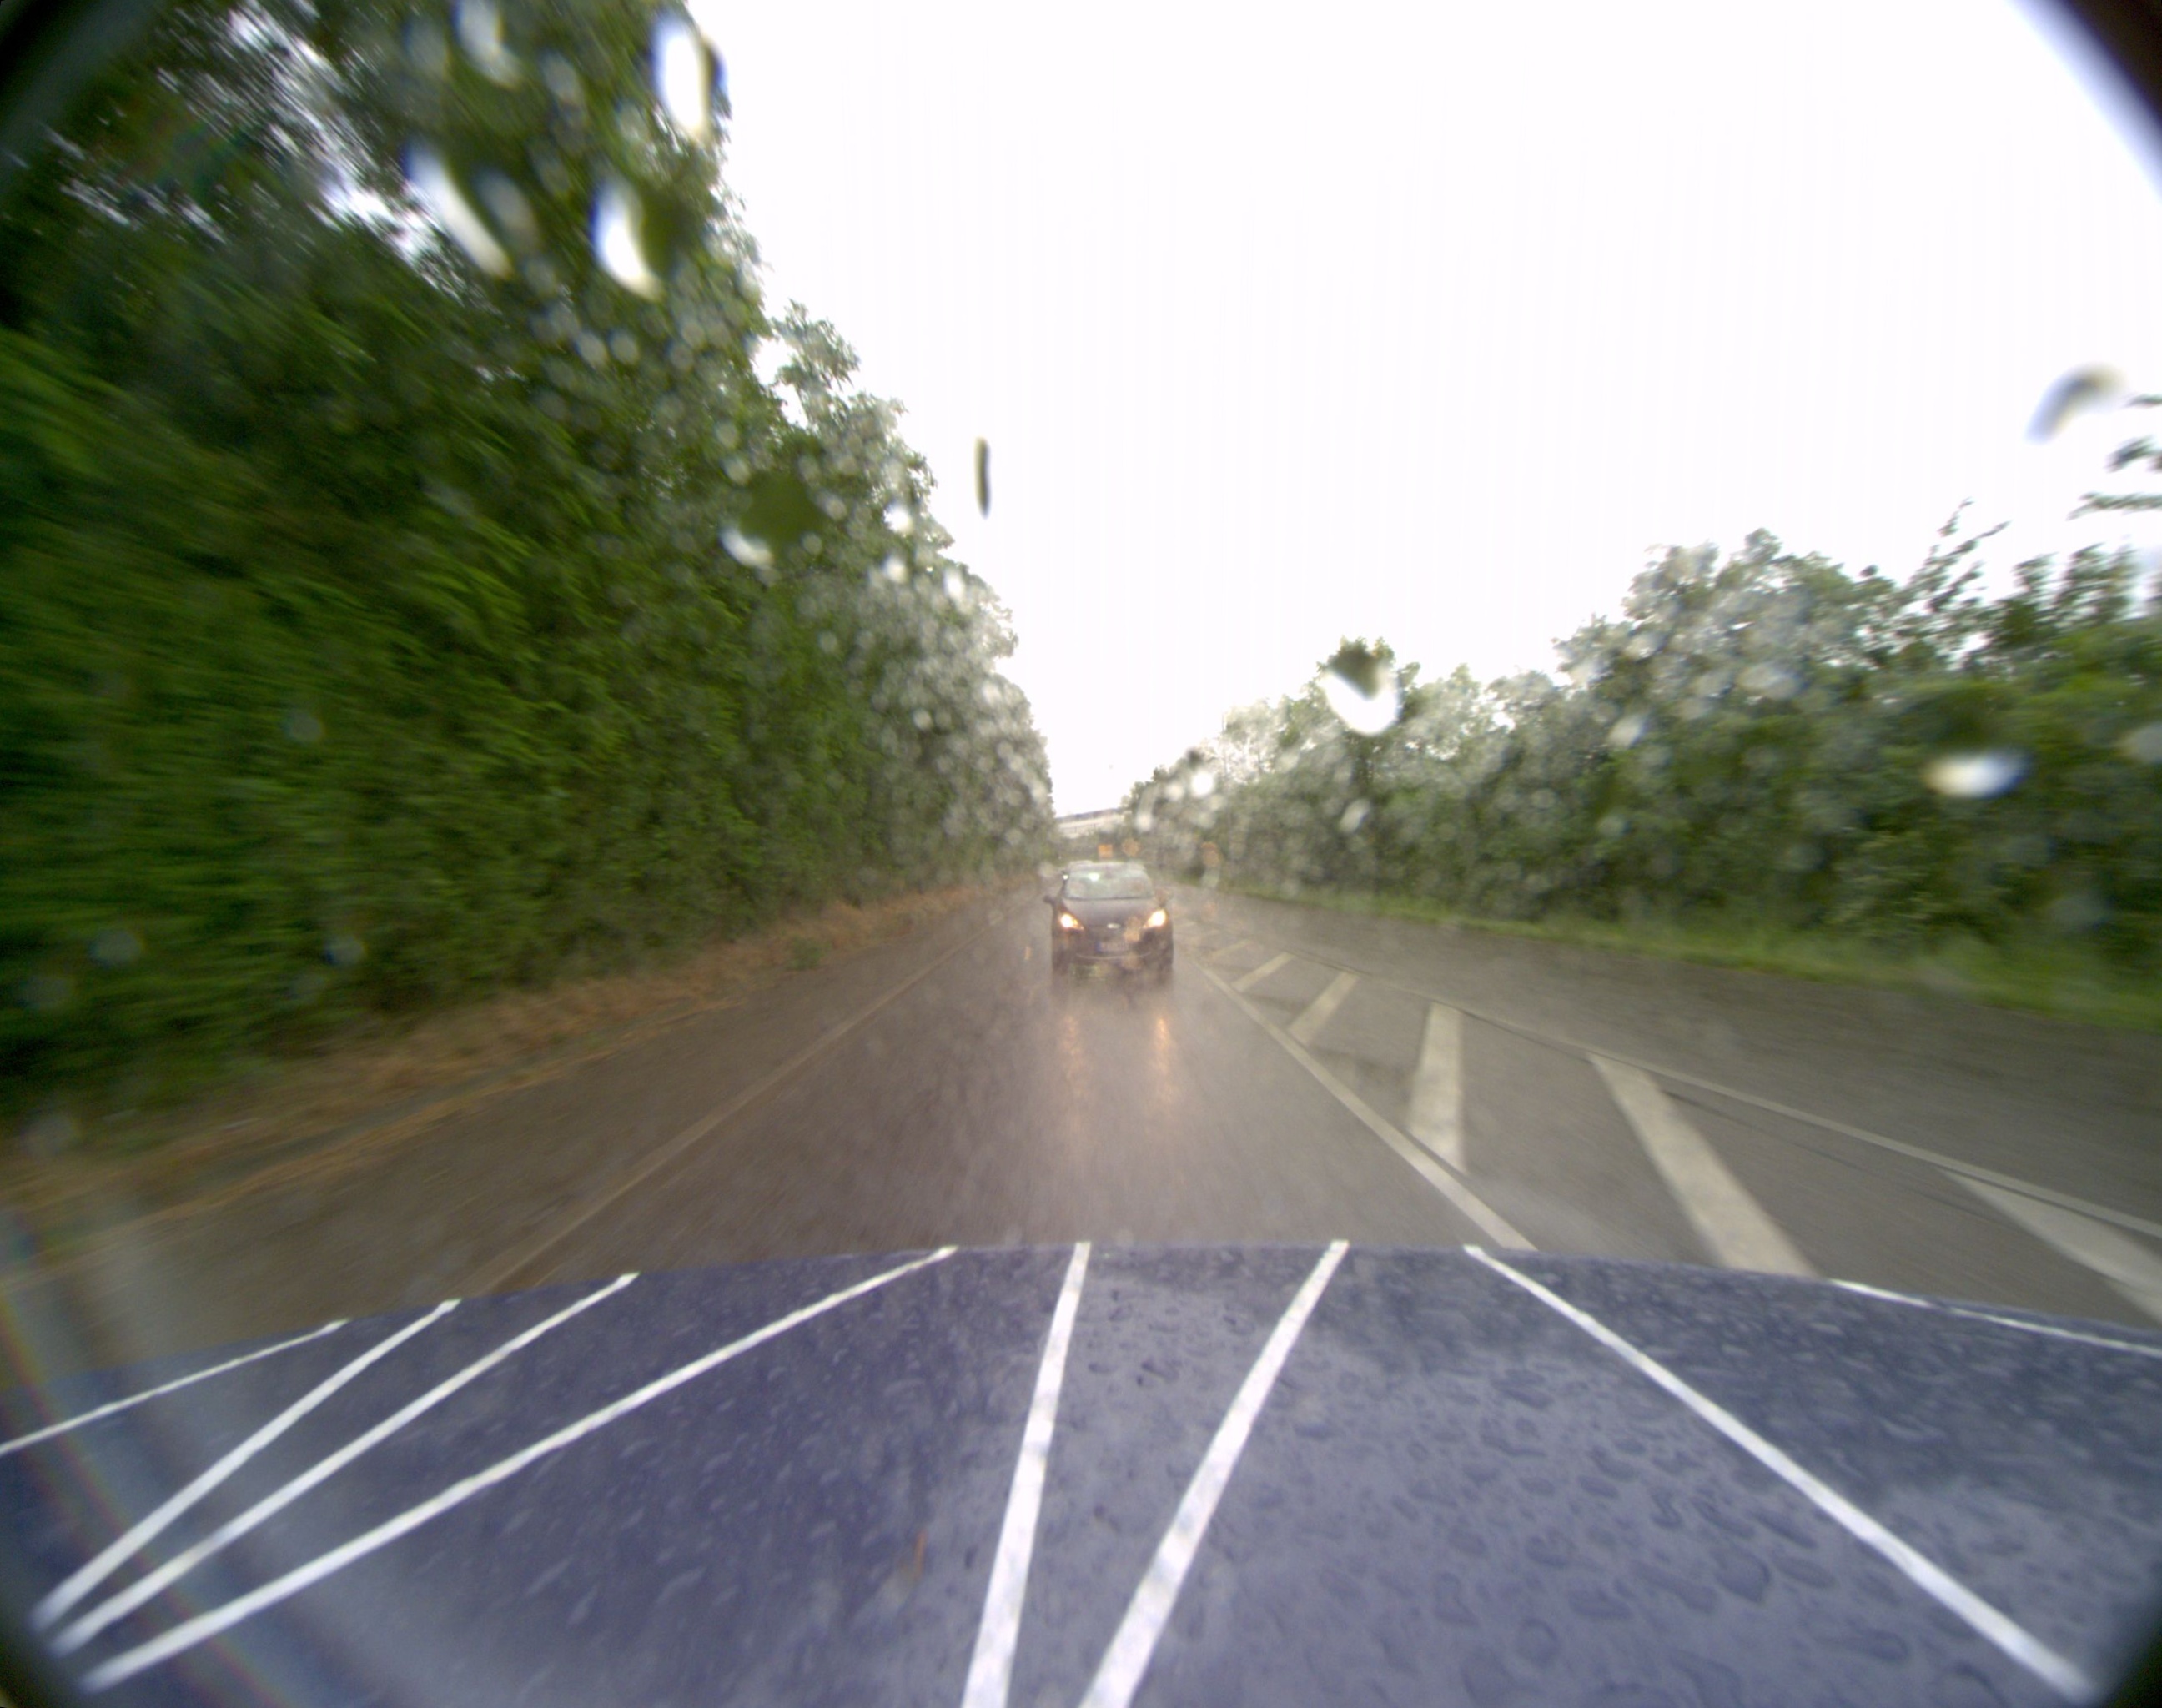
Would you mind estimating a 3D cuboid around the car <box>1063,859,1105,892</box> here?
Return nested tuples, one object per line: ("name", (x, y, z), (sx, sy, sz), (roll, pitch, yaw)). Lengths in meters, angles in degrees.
("car", (0.106, 1.025, 37.292), (1.874, 1.432, 4.377), (-3, 0, -1))

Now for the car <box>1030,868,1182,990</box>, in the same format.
("car", (0.267, 0.993, 11.853), (1.874, 1.432, 4.377), (-2, -1, -1))
